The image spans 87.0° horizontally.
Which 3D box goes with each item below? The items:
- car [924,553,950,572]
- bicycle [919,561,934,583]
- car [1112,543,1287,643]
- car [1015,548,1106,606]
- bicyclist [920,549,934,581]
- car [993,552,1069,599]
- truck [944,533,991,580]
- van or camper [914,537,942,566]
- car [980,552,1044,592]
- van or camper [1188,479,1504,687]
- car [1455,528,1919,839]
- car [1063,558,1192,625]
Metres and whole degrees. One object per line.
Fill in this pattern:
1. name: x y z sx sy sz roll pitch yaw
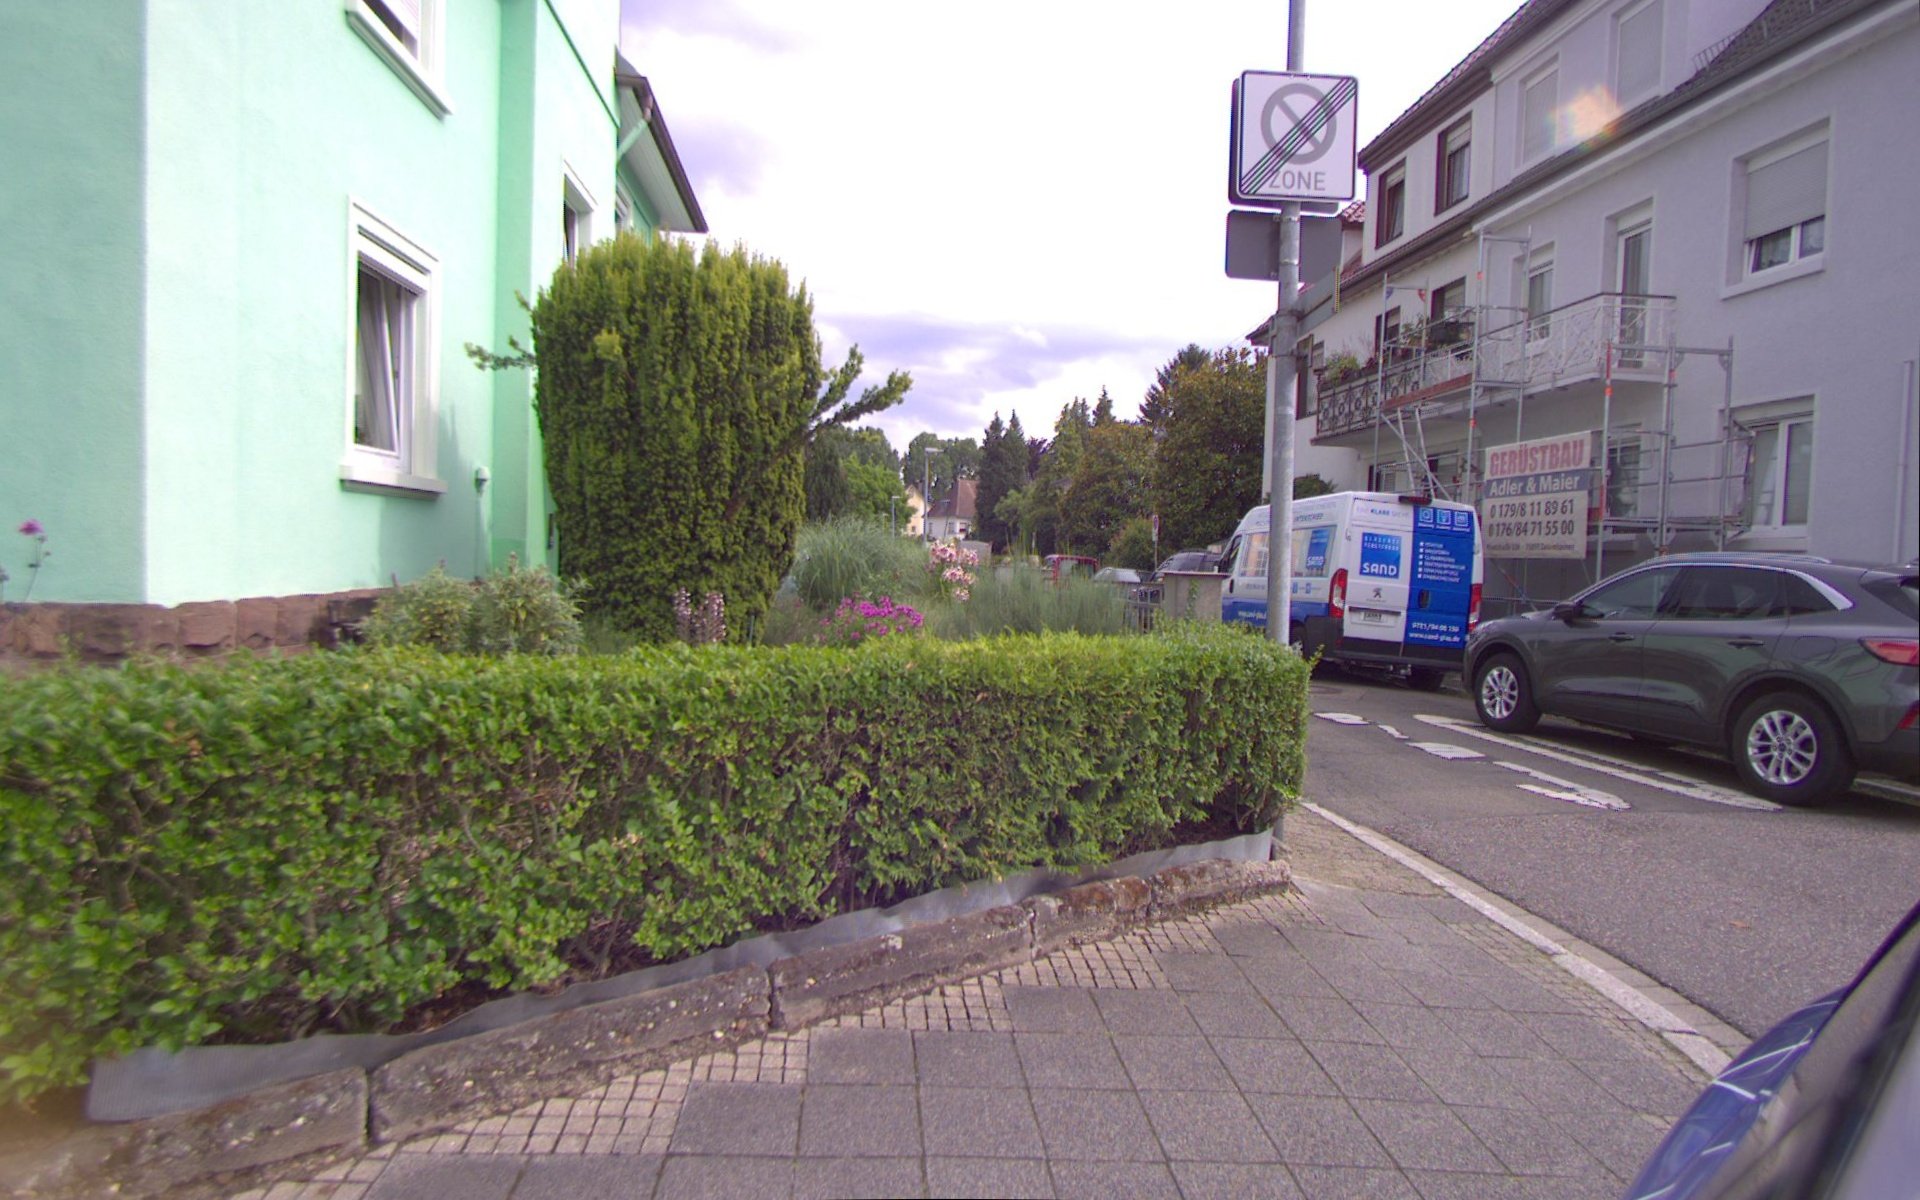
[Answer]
1. car: -1.845 -3.042 81.167 1.790 1.393 4.006 2 3 -5
2. bicycle: -1.828 -1.521 55.121 0.693 1.166 1.876 1 2 -6
3. car: 4.764 -0.239 20.838 1.959 1.793 4.351 2 3 -8
4. car: 3.265 -0.823 33.732 1.959 1.770 4.351 2 3 -8
5. bicyclist: -1.820 -1.921 55.244 0.685 1.687 0.977 1 2 -5
6. car: 2.639 -0.968 38.764 1.959 1.610 4.351 2 3 -8
7. truck: 0.400 -2.655 61.311 2.093 2.689 4.593 2 3 -8
8. van or camper: -2.983 -4.516 93.807 2.105 2.572 5.023 2 3 -6
9. car: 2.226 -1.273 44.601 1.959 1.610 4.351 2 3 -8
10. van or camper: 5.321 -0.327 14.941 2.154 2.489 5.063 2 3 -6
11. car: 6.102 0.395 7.740 1.959 1.747 4.351 2 3 -8
12. car: 4.163 -0.279 25.874 1.959 1.473 4.351 2 3 -8
